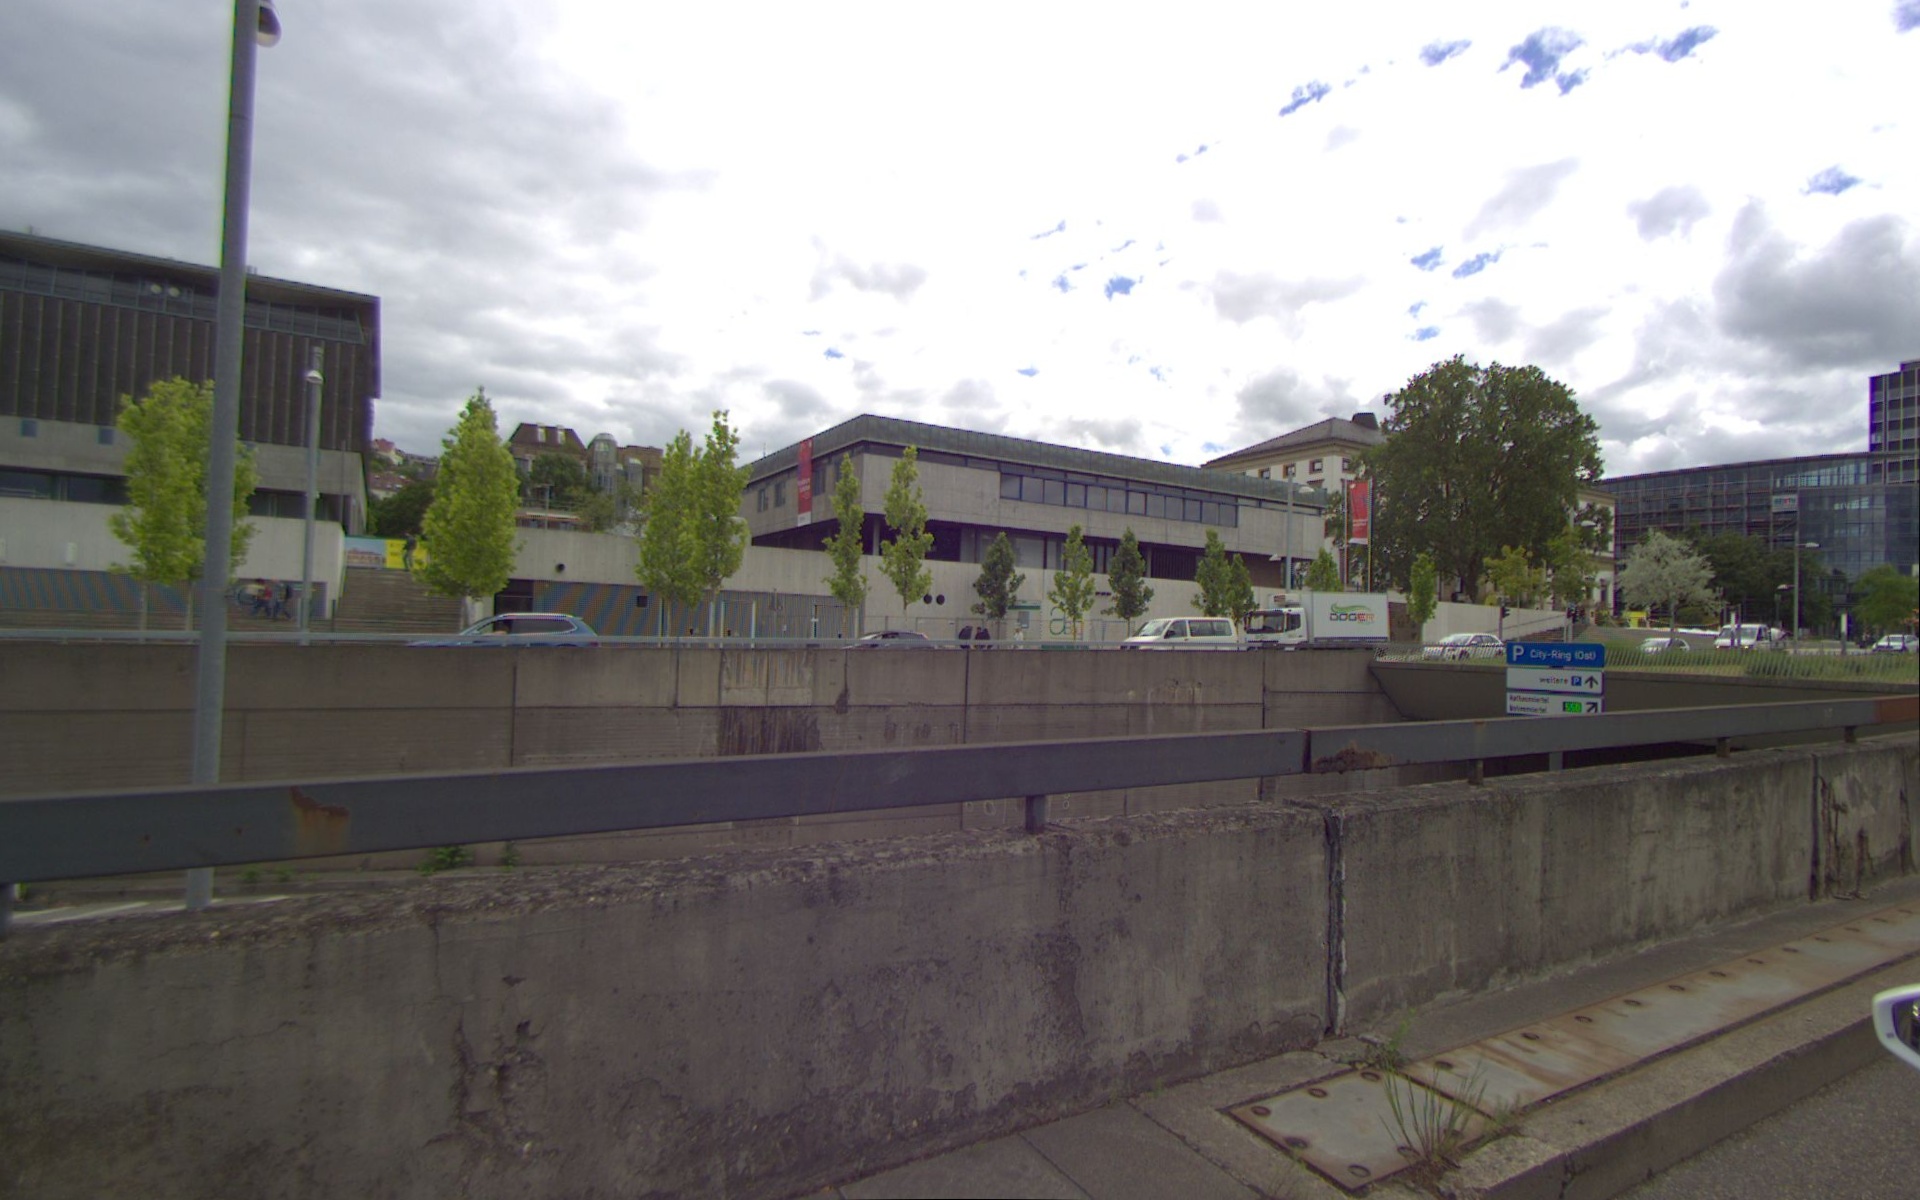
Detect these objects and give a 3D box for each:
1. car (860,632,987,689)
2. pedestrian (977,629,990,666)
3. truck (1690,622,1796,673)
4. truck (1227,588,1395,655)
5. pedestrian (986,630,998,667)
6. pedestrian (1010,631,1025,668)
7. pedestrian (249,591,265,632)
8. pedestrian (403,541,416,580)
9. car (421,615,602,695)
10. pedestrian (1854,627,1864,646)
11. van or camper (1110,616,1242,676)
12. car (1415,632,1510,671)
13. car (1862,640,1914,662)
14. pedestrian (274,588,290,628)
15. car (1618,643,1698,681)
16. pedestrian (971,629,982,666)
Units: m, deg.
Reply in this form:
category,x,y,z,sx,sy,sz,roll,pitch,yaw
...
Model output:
category,x,y,z,sx,sy,sz,roll,pitch,yaw
car,-1.255,2.049,34.888,3.953,1.840,1.984,1,0,-30
pedestrian,1.012,2.023,42.788,0.314,1.542,0.410,2,0,-36
truck,46.615,2.769,59.772,6.991,2.854,2.453,1,0,-29
truck,15.877,0.952,45.358,7.163,2.825,3.218,1,0,-28
pedestrian,1.369,2.033,42.456,0.314,1.542,0.346,2,0,-36
pedestrian,2.410,2.063,42.126,0.457,1.542,0.424,2,0,-36
pedestrian,-26.964,0.435,38.519,0.457,1.542,0.377,2,0,-36
pedestrian,-27.149,-1.939,49.521,0.457,1.891,0.377,2,0,-36
car,-11.230,1.322,25.174,3.953,1.840,1.984,1,0,-30
pedestrian,84.385,3.429,94.295,0.643,1.671,0.521,2,0,-31
van or camper,7.793,1.600,36.157,4.503,2.040,1.984,1,0,-30
car,22.449,2.272,44.844,4.218,1.595,1.711,1,0,-29
car,72.466,3.940,78.425,4.556,1.595,1.711,1,0,-29
pedestrian,-26.047,0.301,38.590,0.457,1.542,0.377,2,0,-36
car,37.603,3.314,54.131,4.208,1.840,1.984,1,0,-30
pedestrian,0.700,2.014,42.872,0.314,1.542,0.315,2,0,-36
